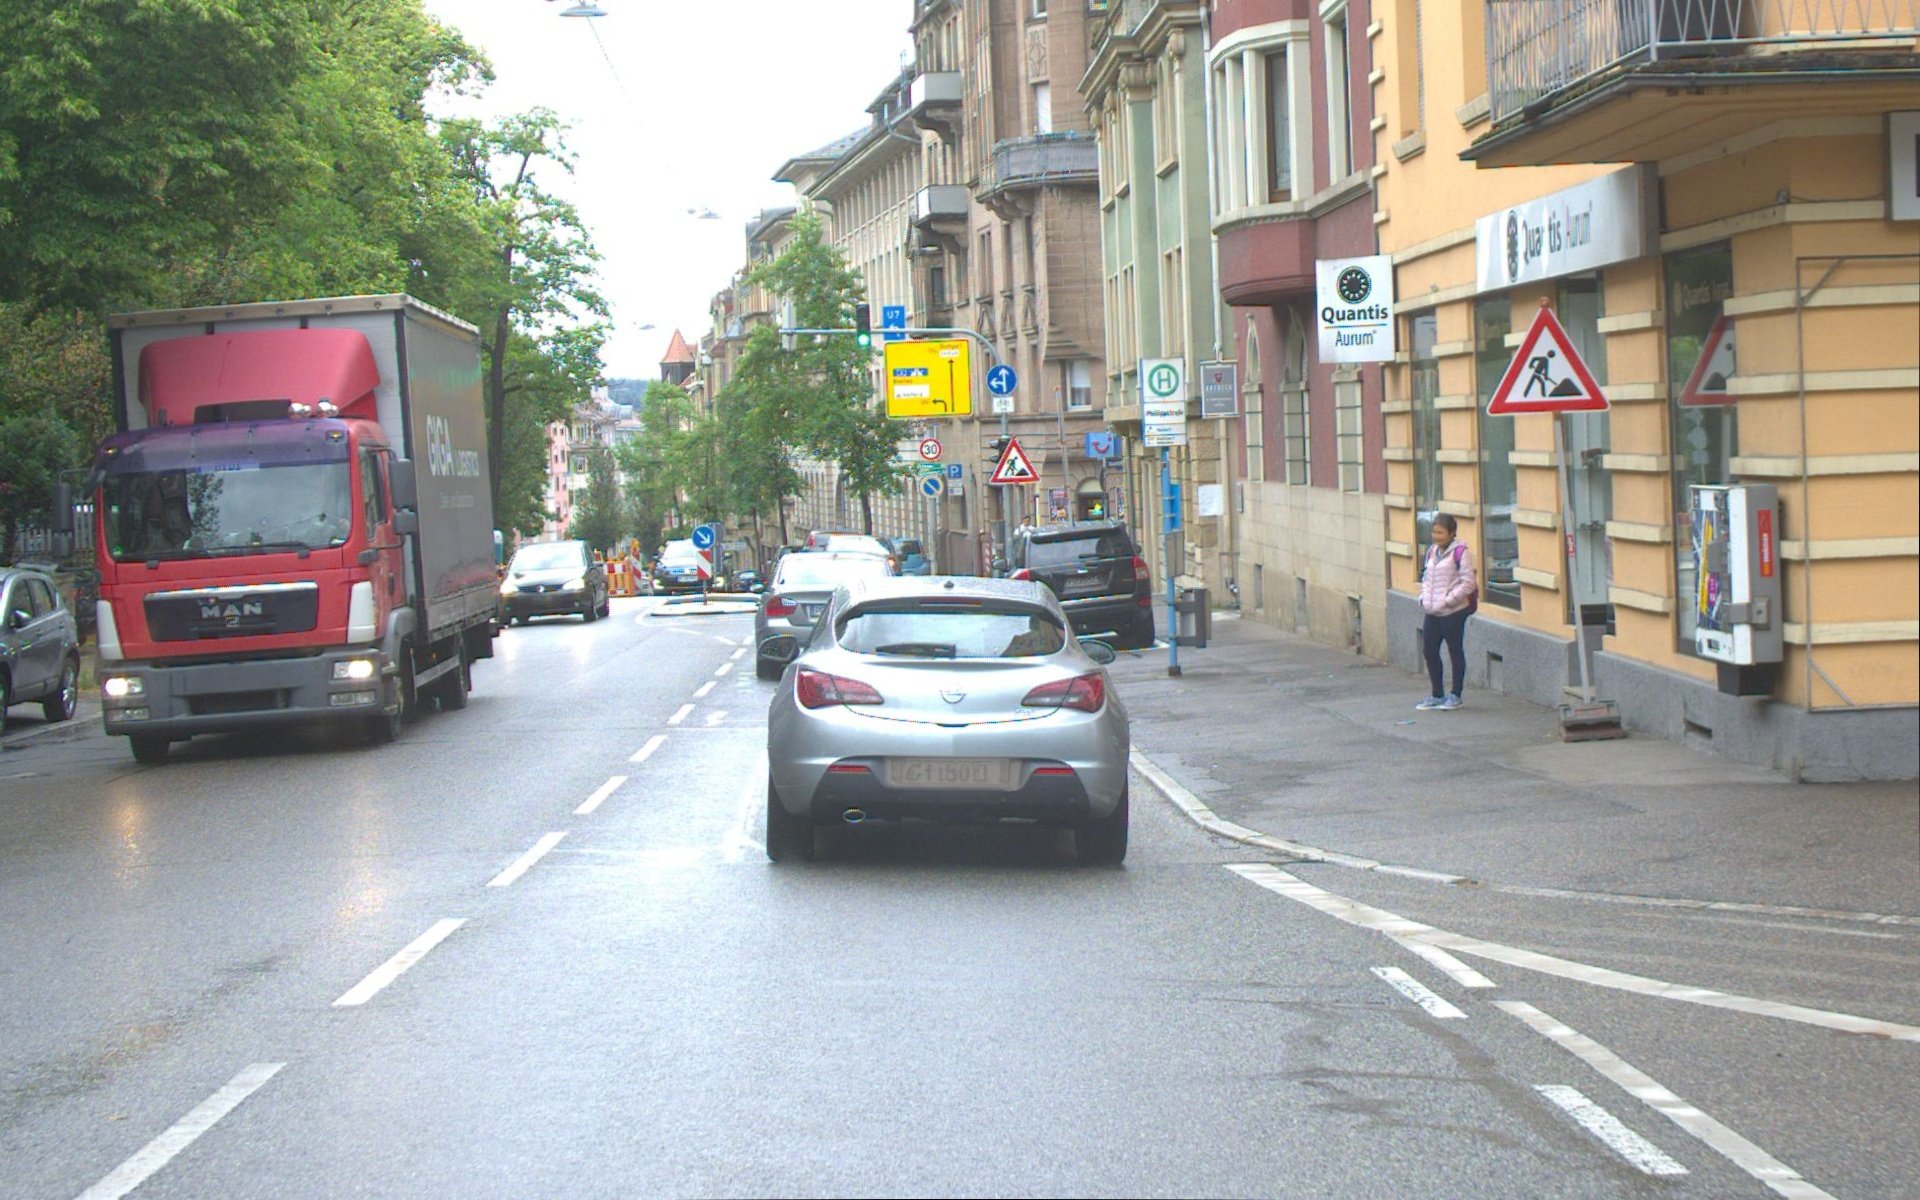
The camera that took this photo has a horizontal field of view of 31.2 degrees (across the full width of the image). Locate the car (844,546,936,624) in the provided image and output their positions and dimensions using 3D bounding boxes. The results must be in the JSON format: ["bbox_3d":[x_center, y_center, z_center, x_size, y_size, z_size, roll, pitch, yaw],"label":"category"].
[{"bbox_3d":[-1.396,-0.300,68.592,1.772,1.499,3.869,-1,0,-1],"label":"car"}]

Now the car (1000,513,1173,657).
[{"bbox_3d":[1.580,-0.202,44.624,1.876,1.624,4.698,-5,0,-1],"label":"car"}]

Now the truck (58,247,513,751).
[{"bbox_3d":[-5.944,-0.859,31.900,2.647,3.841,9.308,-4,1,-3],"label":"truck"}]

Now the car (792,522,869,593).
[{"bbox_3d":[-3.130,-1.008,82.508,1.656,1.537,3.666,-4,0,-3],"label":"car"}]

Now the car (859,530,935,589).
[{"bbox_3d":[-1.852,-1.158,99.759,1.656,1.537,3.666,-4,0,-8],"label":"car"}]

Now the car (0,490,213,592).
[{"bbox_3d":[-20.233,-1.402,80.882,4.665,2.041,2.024,4,3,13],"label":"car"}]

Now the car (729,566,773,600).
[{"bbox_3d":[-9.375,-0.765,153.785,1.637,1.424,3.377,-2,0,-8],"label":"car"}]

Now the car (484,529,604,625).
[{"bbox_3d":[-7.641,-0.449,63.447,1.772,1.512,4.592,-2,3,-2],"label":"car"}]

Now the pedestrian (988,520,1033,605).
[{"bbox_3d":[1.094,-0.813,74.467,0.718,1.768,0.665,-3,2,17],"label":"pedestrian"}]

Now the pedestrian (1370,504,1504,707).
[{"bbox_3d":[3.834,0.041,27.648,0.766,1.584,0.712,-2,0,-20],"label":"pedestrian"}]

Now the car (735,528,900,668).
[{"bbox_3d":[-1.577,-0.035,39.168,1.772,1.499,3.869,-1,0,-1],"label":"car"}]

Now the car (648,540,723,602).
[{"bbox_3d":[-6.948,-0.762,87.198,1.815,1.512,4.549,-1,1,-4],"label":"car"}]

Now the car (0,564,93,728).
[{"bbox_3d":[-9.992,0.425,34.138,1.741,1.554,4.302,0,0,-1],"label":"car"}]

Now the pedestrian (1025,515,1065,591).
[{"bbox_3d":[1.847,-1.018,74.544,0.597,1.579,0.665,-3,2,17],"label":"pedestrian"}]

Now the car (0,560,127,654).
[{"bbox_3d":[-14.871,0.134,52.226,3.986,1.322,1.837,-2,2,-2],"label":"car"}]

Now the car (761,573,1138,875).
[{"bbox_3d":[-0.061,0.589,18.564,1.811,1.444,3.869,-1,0,0],"label":"car"}]

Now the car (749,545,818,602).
[{"bbox_3d":[-5.284,-0.774,102.653,1.656,1.537,3.666,-4,0,-8],"label":"car"}]
